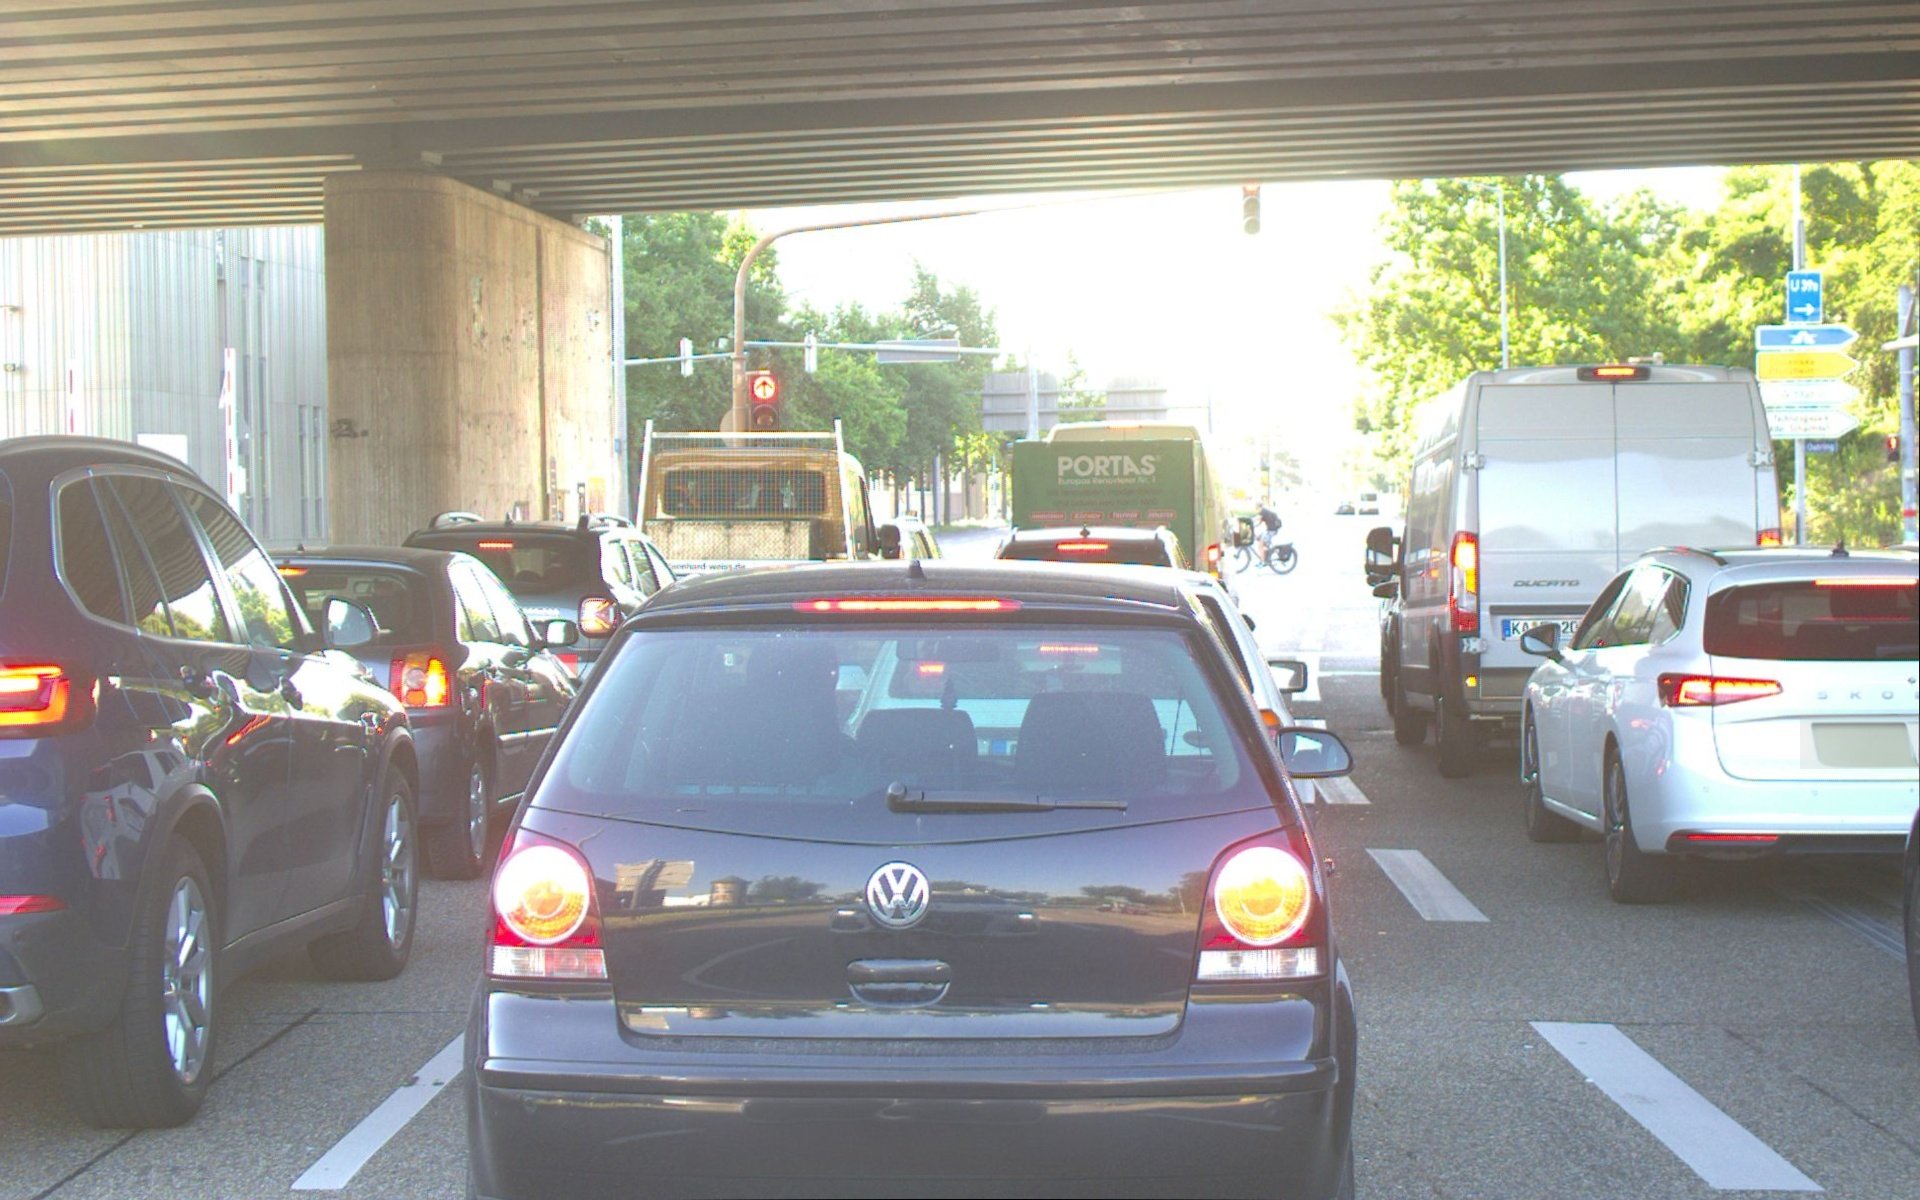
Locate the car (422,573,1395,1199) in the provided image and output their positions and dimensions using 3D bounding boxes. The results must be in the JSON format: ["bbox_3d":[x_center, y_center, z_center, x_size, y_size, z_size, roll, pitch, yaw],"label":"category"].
[{"bbox_3d":[-0.109,0.658,7.507,1.581,1.404,3.832,0,0,-1],"label":"car"}]

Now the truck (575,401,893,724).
[{"bbox_3d":[-1.849,-0.305,30.014,2.028,2.548,5.536,0,0,4],"label":"truck"}]

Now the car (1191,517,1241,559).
[{"bbox_3d":[8.579,-2.067,115.441,1.339,1.277,2.893,-4,0,-1],"label":"car"}]

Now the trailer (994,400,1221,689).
[{"bbox_3d":[1.424,-0.492,31.857,1.864,2.456,3.831,-2,0,5],"label":"trailer"}]

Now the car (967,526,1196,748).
[{"bbox_3d":[0.947,0.256,25.607,1.582,1.527,3.831,0,0,3],"label":"car"}]

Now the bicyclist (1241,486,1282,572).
[{"bbox_3d":[7.179,-1.689,81.910,0.828,2.007,0.682,-4,0,6],"label":"bicyclist"}]

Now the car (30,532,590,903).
[{"bbox_3d":[-2.910,0.481,16.190,1.841,1.435,3.675,-4,0,0],"label":"car"}]

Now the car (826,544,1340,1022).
[{"bbox_3d":[0.454,0.557,12.637,1.547,1.418,3.417,-4,1,2],"label":"car"}]

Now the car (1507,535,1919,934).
[{"bbox_3d":[3.507,0.497,14.988,1.772,1.490,3.831,-2,0,3],"label":"car"}]

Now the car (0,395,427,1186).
[{"bbox_3d":[-2.820,0.423,9.782,1.829,1.732,4.461,-1,0,1],"label":"car"}]

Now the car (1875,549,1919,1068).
[{"bbox_3d":[3.544,0.645,7.830,1.740,1.449,4.606,0,2,1],"label":"car"}]

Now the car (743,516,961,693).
[{"bbox_3d":[-1.174,0.048,39.206,1.994,1.894,3.999,-1,0,5],"label":"car"}]

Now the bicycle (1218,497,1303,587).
[{"bbox_3d":[7.156,-1.377,81.942,1.878,2.007,0.570,-4,0,7],"label":"bicycle"}]

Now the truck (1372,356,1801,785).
[{"bbox_3d":[4.027,-0.190,22.880,2.111,2.511,4.401,-2,0,2],"label":"truck"}]

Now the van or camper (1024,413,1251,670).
[{"bbox_3d":[2.025,-0.595,37.393,1.994,2.562,5.916,0,0,7],"label":"van or camper"}]

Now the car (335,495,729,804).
[{"bbox_3d":[-2.670,0.279,22.348,1.841,1.713,4.000,-4,0,2],"label":"car"}]
